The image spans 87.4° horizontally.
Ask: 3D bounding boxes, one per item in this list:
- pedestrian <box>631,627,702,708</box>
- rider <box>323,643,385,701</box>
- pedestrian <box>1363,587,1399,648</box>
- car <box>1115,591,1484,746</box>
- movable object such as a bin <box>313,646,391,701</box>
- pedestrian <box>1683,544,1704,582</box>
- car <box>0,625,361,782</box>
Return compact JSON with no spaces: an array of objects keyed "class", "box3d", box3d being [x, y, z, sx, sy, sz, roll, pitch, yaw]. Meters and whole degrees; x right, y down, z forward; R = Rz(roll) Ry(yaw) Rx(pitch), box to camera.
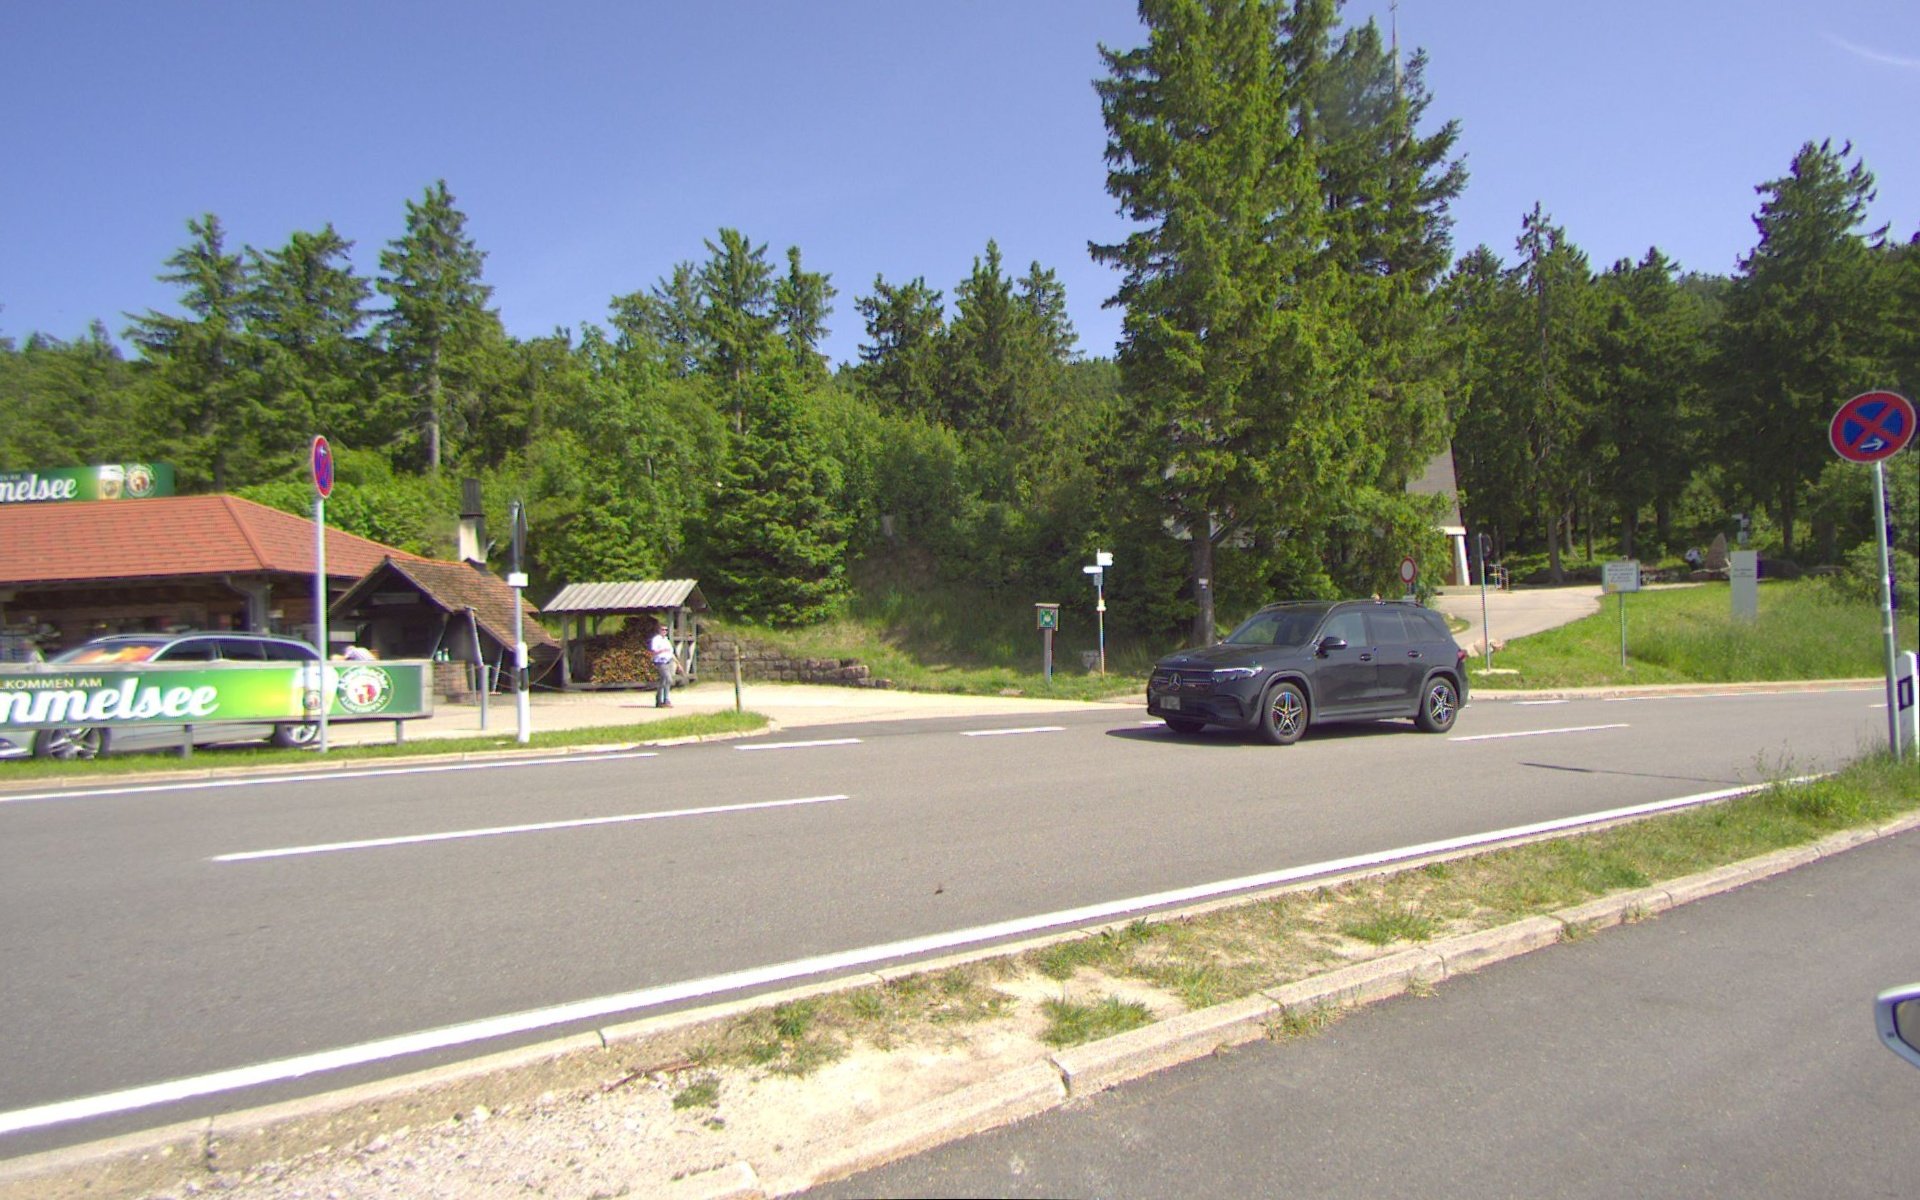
[{"class":"pedestrian","box3d":[-6.431,1.474,22.050,1.140,1.720,0.979,-1,-2,21]},{"class":"rider","box3d":[-13.928,1.645,23.089,0.891,1.291,0.840,-1,-2,18]},{"class":"pedestrian","box3d":[11.998,0.505,28.619,0.677,1.703,0.713,1,-2,-41]},{"class":"car","box3d":[4.381,0.804,12.831,4.513,1.669,1.985,1,-2,-30]},{"class":"movable object such as a bin","box3d":[-13.972,1.676,23.093,1.192,1.204,0.984,-1,-2,18]},{"class":"pedestrian","box3d":[37.099,-1.871,50.812,0.531,1.902,0.683,-1,-2,5]},{"class":"car","box3d":[-9.335,1.067,11.547,1.687,1.449,4.506,-1,-3,9]}]
